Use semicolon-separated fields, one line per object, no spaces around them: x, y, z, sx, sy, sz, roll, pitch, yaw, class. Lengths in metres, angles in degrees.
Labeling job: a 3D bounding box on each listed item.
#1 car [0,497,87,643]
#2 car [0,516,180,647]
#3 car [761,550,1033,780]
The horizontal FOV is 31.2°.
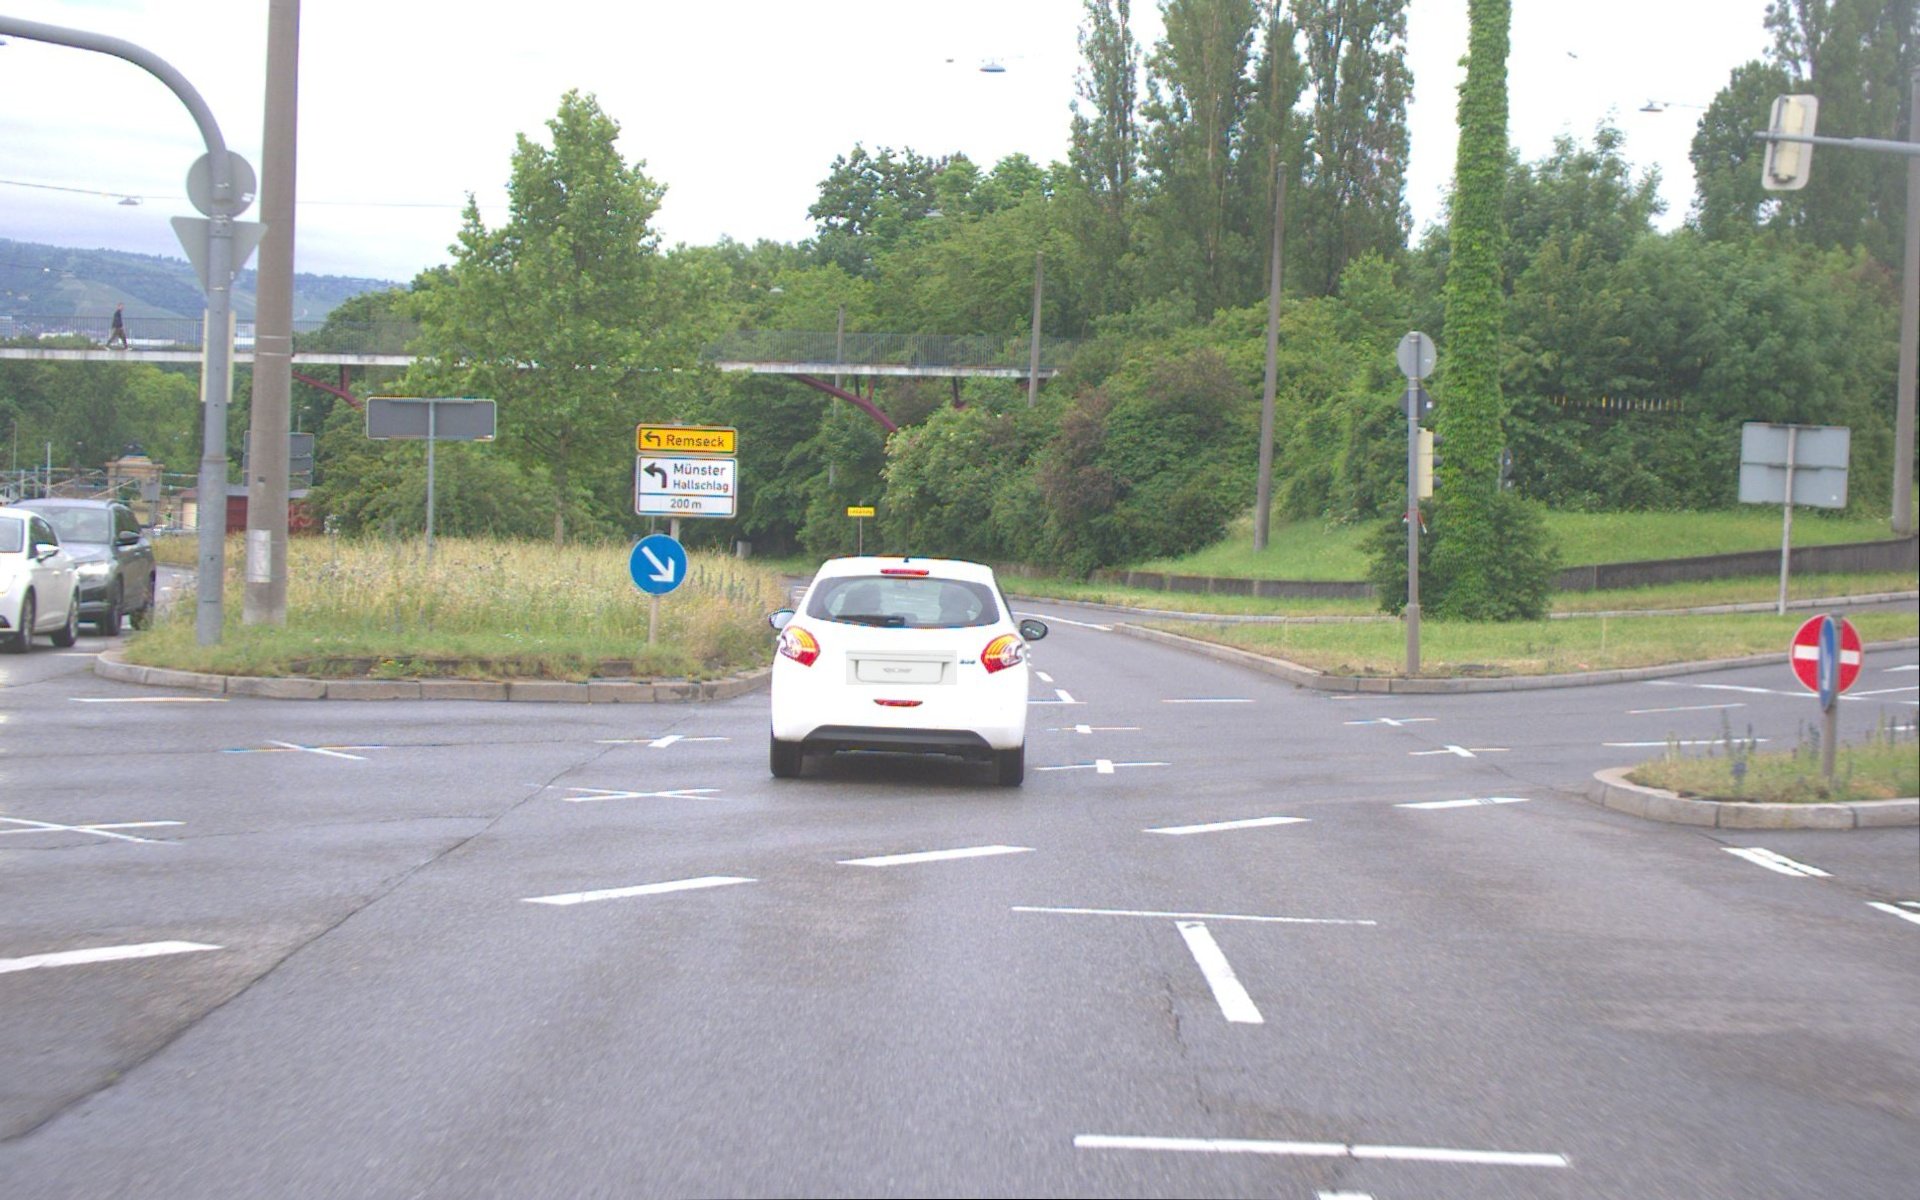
-9.930;-0.320;34.244;1.737;1.368;4.001;2;0;-5;car
-10.613;-0.255;40.793;1.895;1.320;4.001;3;2;-2;car
-0.406;0.409;23.684;1.708;1.435;3.690;1;0;0;car
